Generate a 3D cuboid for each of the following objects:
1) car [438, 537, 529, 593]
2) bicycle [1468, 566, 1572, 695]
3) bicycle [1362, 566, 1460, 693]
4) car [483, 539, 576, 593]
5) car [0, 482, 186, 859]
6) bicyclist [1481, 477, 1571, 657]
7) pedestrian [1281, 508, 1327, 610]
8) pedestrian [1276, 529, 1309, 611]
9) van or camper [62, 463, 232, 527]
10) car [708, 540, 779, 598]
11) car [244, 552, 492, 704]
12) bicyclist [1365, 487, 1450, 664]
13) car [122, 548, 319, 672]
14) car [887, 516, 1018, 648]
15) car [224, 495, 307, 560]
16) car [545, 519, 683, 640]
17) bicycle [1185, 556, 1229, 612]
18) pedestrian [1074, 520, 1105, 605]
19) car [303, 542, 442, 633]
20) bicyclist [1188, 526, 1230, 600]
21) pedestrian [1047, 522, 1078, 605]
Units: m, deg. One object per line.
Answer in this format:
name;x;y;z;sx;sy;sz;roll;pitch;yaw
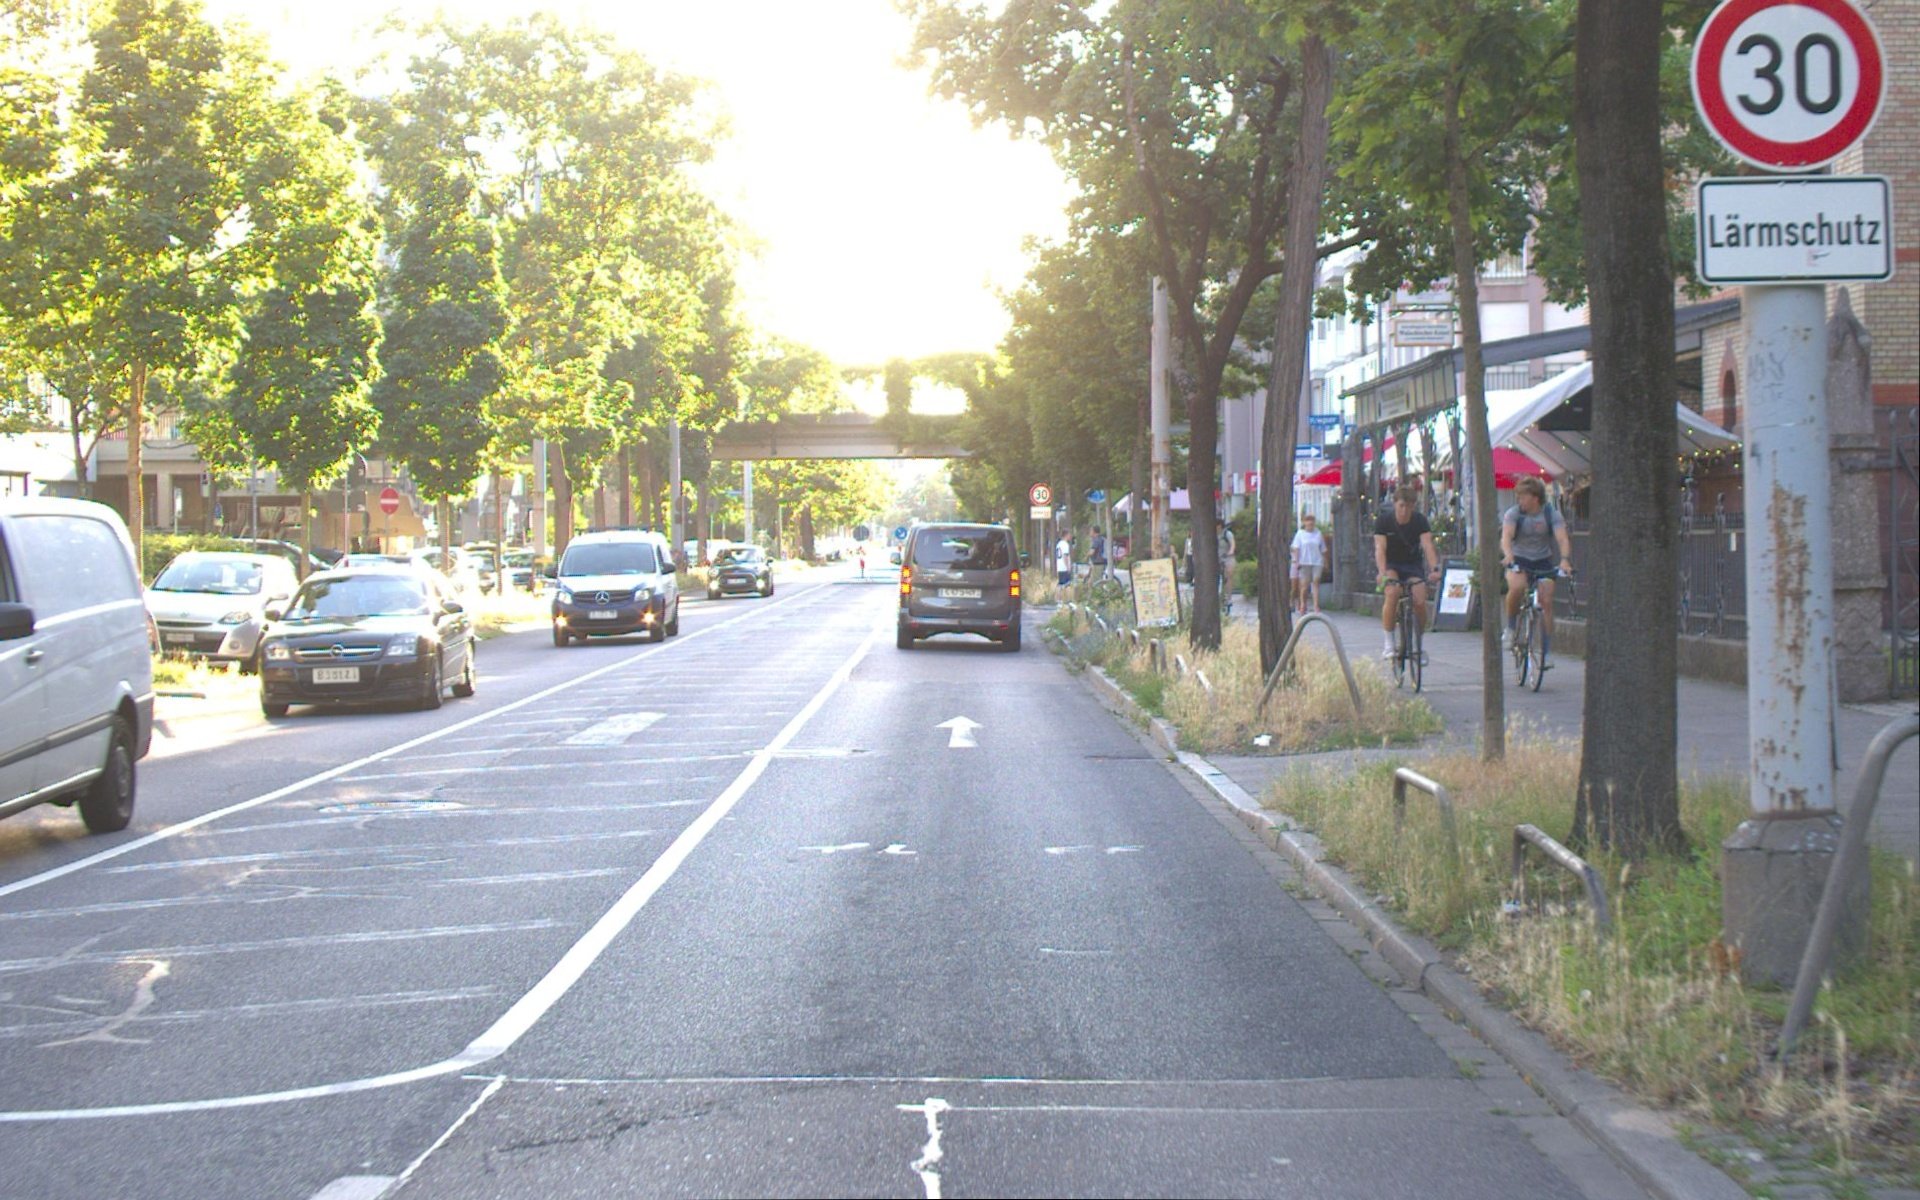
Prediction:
car;-11.711;-0.883;84.675;1.671;1.309;3.965;1;1;0
bicycle;4.839;0.245;29.809;0.517;1.036;2.089;1;1;0
bicycle;3.948;0.240;30.206;0.544;1.036;2.089;1;1;0
car;-11.909;-0.951;95.300;1.993;1.409;4.237;1;1;0
car;-5.642;0.339;17.825;1.993;1.825;5.170;-1;1;1
bicyclist;4.938;-0.293;30.034;0.595;1.527;0.893;1;1;0
pedestrian;5.618;-0.673;56.126;0.644;1.627;0.656;1;1;0
pedestrian;5.563;-0.507;57.576;0.467;1.346;0.530;1;1;0
van or camper;-34.350;-4.441;145.361;6.562;2.513;2.450;1;1;-1
car;-6.014;-0.882;95.785;1.679;1.525;4.000;-2;1;0
car;-5.977;0.240;35.138;1.759;1.381;4.305;-1;1;0
bicyclist;3.943;-0.223;30.335;0.595;1.527;0.893;1;1;0
car;-9.374;0.092;43.856;1.697;1.446;4.000;1;1;-1
car;-0.085;-0.308;52.466;1.887;1.918;3.839;-1;1;1
car;-25.728;-2.697;127.496;1.993;2.300;5.245;1;1;0
car;-5.582;-0.362;55.935;1.833;1.846;4.474;-1;1;-1
bicycle;4.174;-0.280;58.221;0.579;0.894;1.987;1;1;0
pedestrian;2.922;-0.845;77.542;0.504;1.882;0.545;1;1;-15
car;-9.585;-0.235;56.304;1.638;1.381;4.000;1;1;-1
bicyclist;4.198;-0.629;57.964;0.585;1.232;1.112;1;1;0
pedestrian;2.325;-0.830;78.042;0.504;1.882;0.545;1;1;-15
